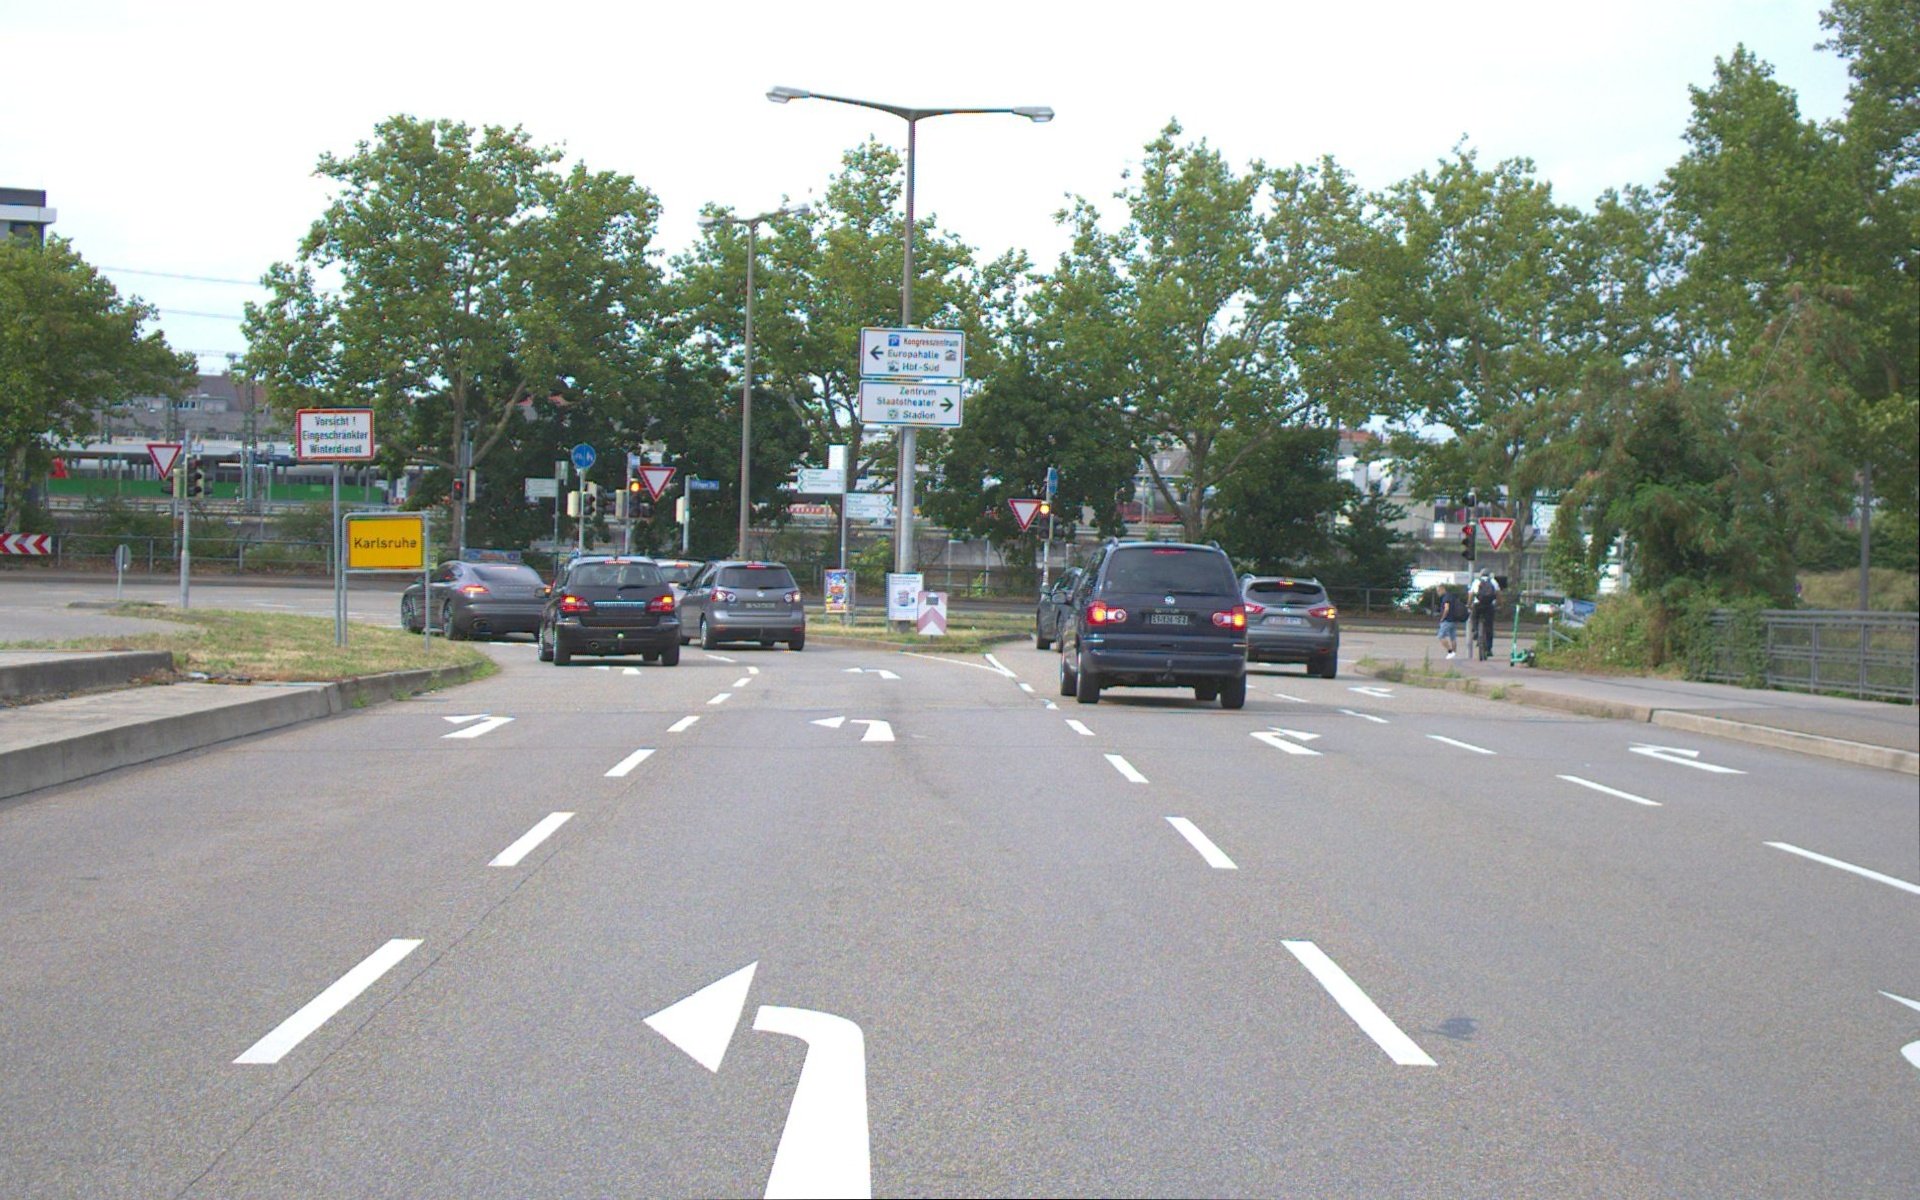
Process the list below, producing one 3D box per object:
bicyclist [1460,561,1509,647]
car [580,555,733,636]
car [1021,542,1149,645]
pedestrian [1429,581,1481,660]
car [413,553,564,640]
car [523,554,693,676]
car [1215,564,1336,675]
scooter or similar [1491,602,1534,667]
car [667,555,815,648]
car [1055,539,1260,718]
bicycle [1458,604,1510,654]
[{"bbox_3d":[10.559,0.069,69.190,0.811,1.690,1.115,1,1,15],"label":"bicyclist"},{"bbox_3d":[-5.907,-0.113,66.517,1.740,1.477,4.083,1,0,-23],"label":"car"},{"bbox_3d":[2.070,-0.111,57.974,1.690,1.580,4.157,3,0,-3],"label":"car"},{"bbox_3d":[10.949,0.445,75.977,1.047,1.704,0.853,3,1,10],"label":"pedestrian"},{"bbox_3d":[-8.578,-0.087,62.204,1.818,1.409,4.778,2,1,-18],"label":"car"},{"bbox_3d":[-5.165,0.189,49.976,1.756,1.570,4.038,2,1,-16],"label":"car"},{"bbox_3d":[5.103,0.315,56.053,1.750,1.637,4.137,3,0,3],"label":"car"},{"bbox_3d":[10.195,0.634,63.460,0.396,1.179,1.281,1,0,-8],"label":"scooter or similar"},{"bbox_3d":[-3.857,0.003,59.914,1.740,1.541,4.083,1,0,-15],"label":"car"},{"bbox_3d":[2.065,0.282,36.971,1.750,1.719,4.138,3,0,-2],"label":"car"},{"bbox_3d":[10.540,0.575,69.153,0.809,0.949,2.234,1,1,14],"label":"bicycle"}]
